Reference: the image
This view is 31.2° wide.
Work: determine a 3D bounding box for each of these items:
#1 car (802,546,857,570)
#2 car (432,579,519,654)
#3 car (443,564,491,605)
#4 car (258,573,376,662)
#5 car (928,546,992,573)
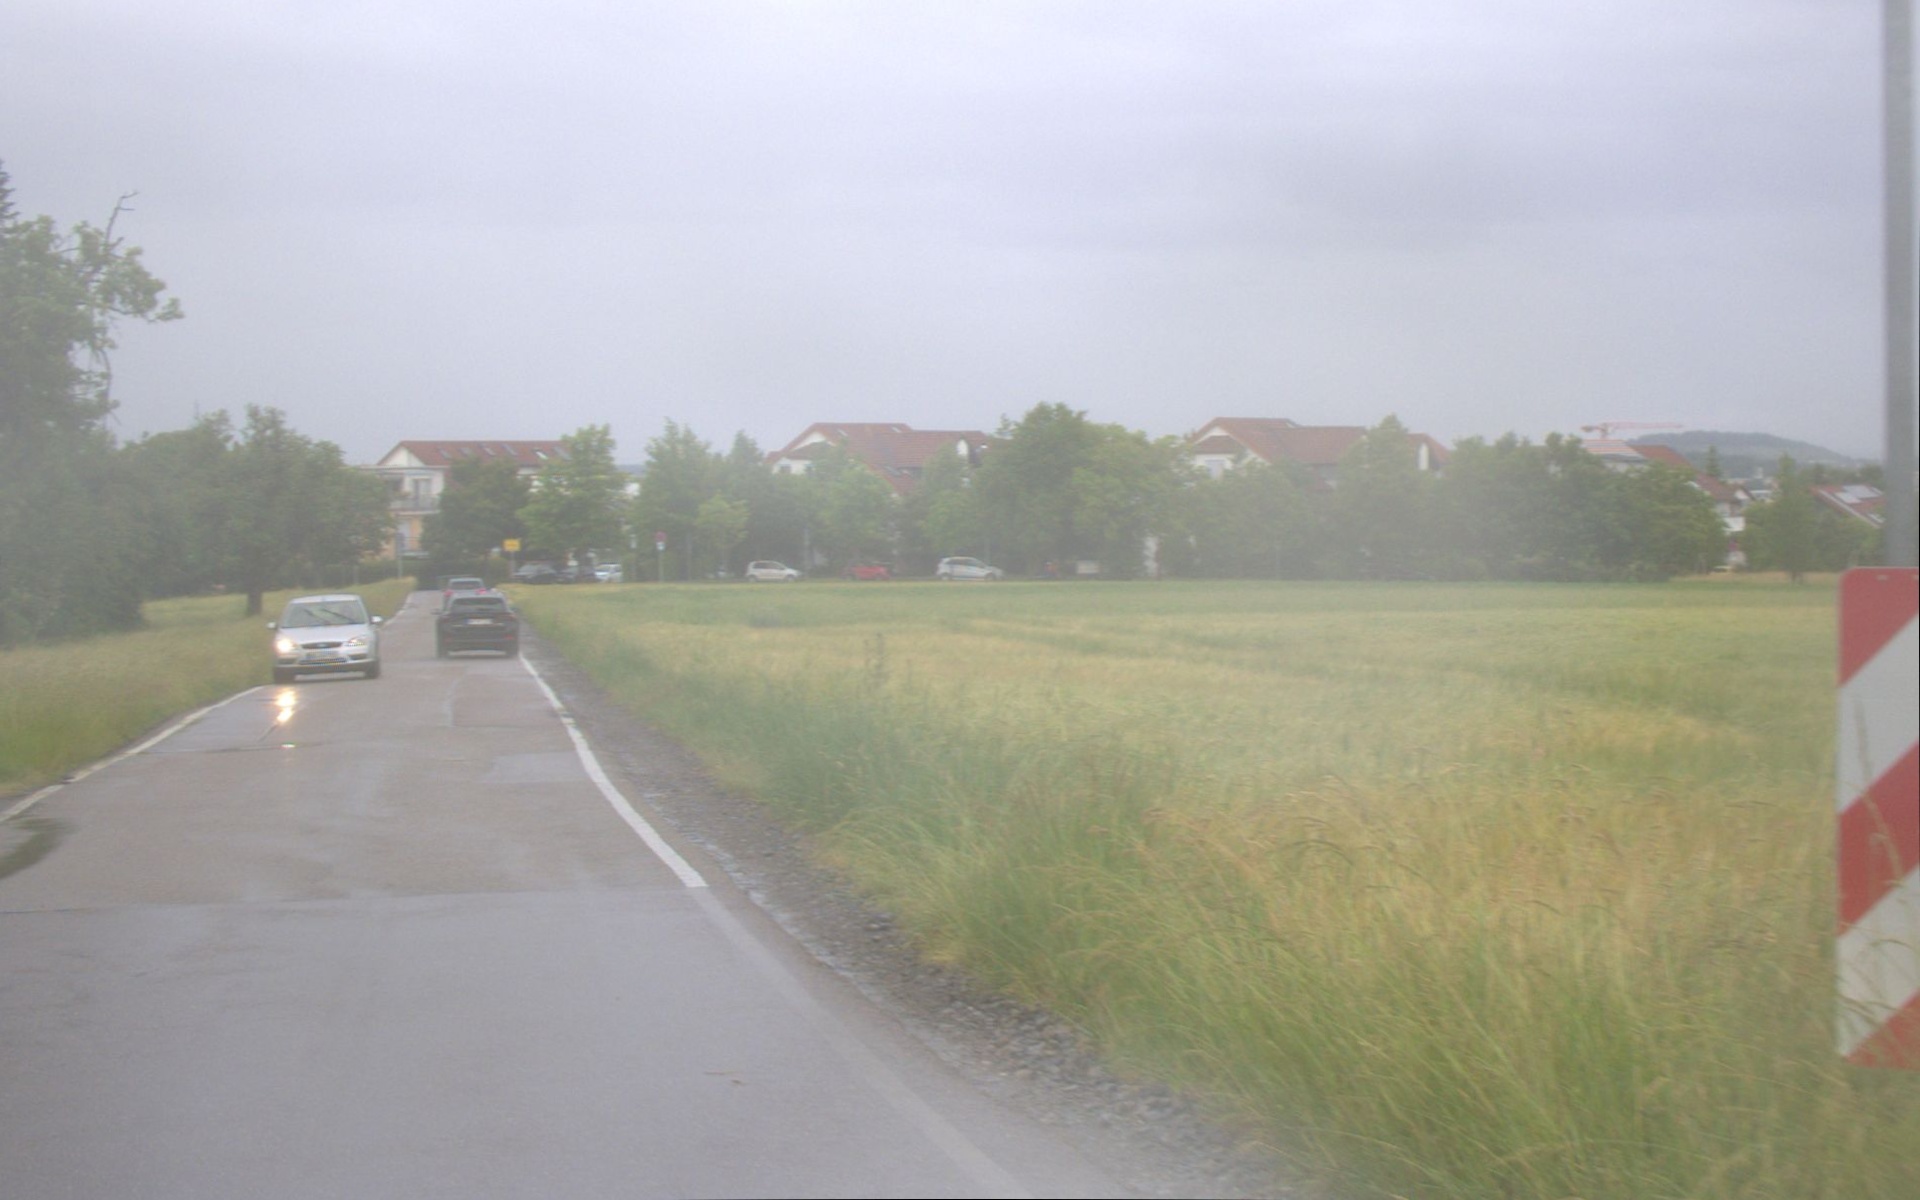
[{"bbox_3d":[-8.000,-2.555,211.228,3.193,1.366,1.571,-1,0,5],"label":"car"},{"bbox_3d":[-10.735,0.372,76.351,1.814,1.588,4.001,-1,0,-7],"label":"car"},{"bbox_3d":[-19.847,-0.614,138.531,1.814,1.588,4.001,-1,0,-7],"label":"car"},{"bbox_3d":[-11.233,0.308,60.268,1.739,1.466,4.123,-1,0,-7],"label":"car"},{"bbox_3d":[0.013,-2.491,210.499,3.710,1.558,1.610,-1,0,5],"label":"car"}]
